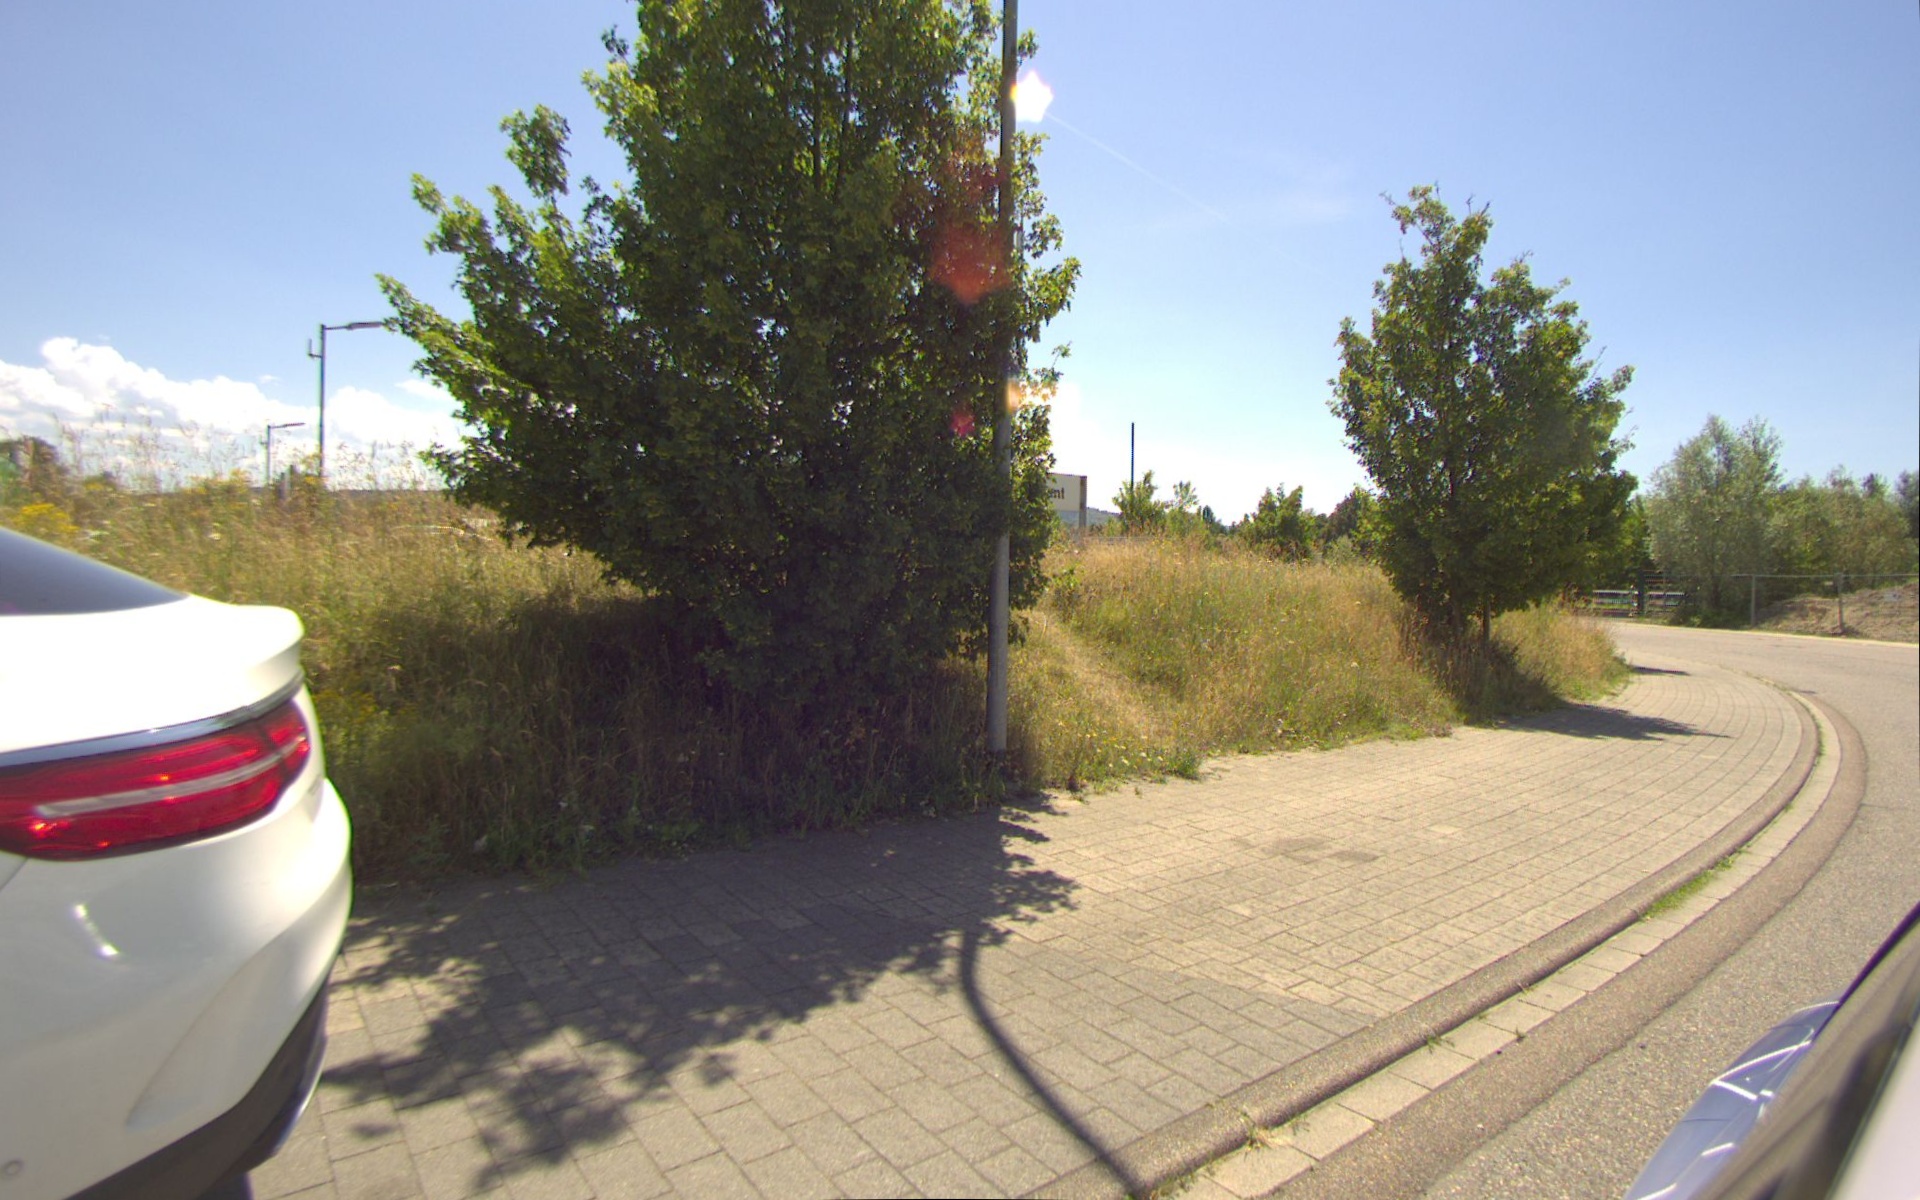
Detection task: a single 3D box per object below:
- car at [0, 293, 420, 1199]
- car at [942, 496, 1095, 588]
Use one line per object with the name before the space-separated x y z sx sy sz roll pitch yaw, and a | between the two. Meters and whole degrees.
car | -3.350 0.407 0.971 4.698 1.719 2.151 0 4 -38
car | 1.923 -1.838 32.841 4.660 2.776 2.001 -1 3 -34
